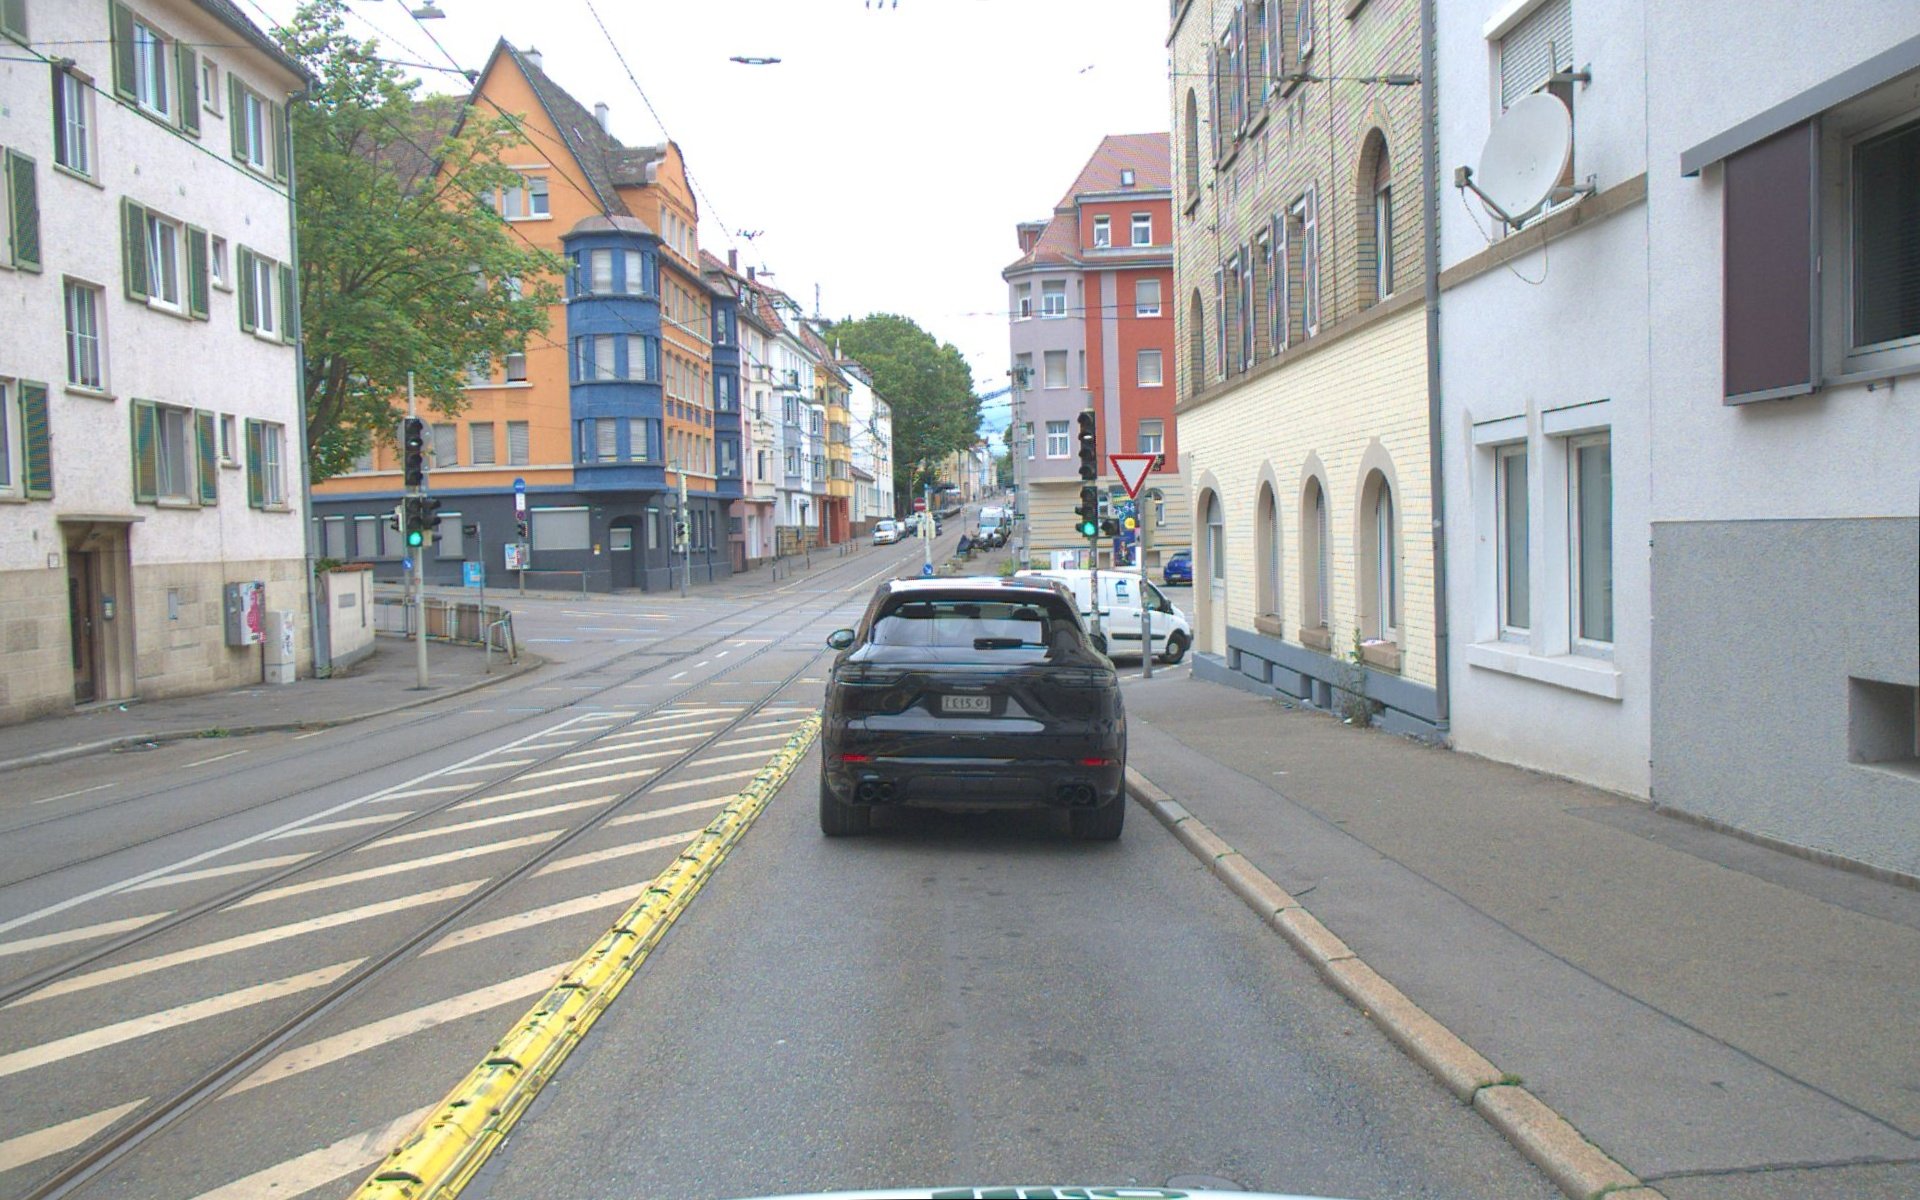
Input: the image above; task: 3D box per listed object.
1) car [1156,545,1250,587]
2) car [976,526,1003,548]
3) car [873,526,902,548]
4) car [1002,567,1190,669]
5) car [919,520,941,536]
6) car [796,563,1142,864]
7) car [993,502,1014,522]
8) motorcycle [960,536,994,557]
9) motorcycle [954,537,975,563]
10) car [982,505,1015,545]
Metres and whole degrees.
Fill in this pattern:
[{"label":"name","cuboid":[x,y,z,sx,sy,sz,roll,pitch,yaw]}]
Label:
[{"label":"car","cuboid":[10.567,-1.505,71.841,4.108,1.561,1.889,-4,6,-42]},{"label":"car","cuboid":[2.162,-4.647,121.453,1.801,1.595,3.822,1,3,4]},{"label":"car","cuboid":[-5.827,-5.116,133.399,1.952,1.721,4.003,1,3,4]},{"label":"car","cuboid":[2.871,0.306,34.217,1.835,1.916,4.266,2,2,38]},{"label":"car","cuboid":[-2.683,-6.462,148.038,1.651,1.349,3.665,1,3,4]},{"label":"car","cuboid":[0.279,0.609,11.822,1.981,1.670,4.359,2,2,6]},{"label":"car","cuboid":[4.987,-10.002,188.115,2.220,2.221,4.773,1,3,4]},{"label":"motorcycle","cuboid":[1.115,-3.517,108.215,2.135,1.349,0.699,1,3,-7]},{"label":"motorcycle","cuboid":[0.262,-2.964,97.713,0.843,1.349,2.182,-6,3,-6]},{"label":"car","cuboid":[2.975,-5.772,127.045,2.220,2.940,4.773,1,3,4]}]
